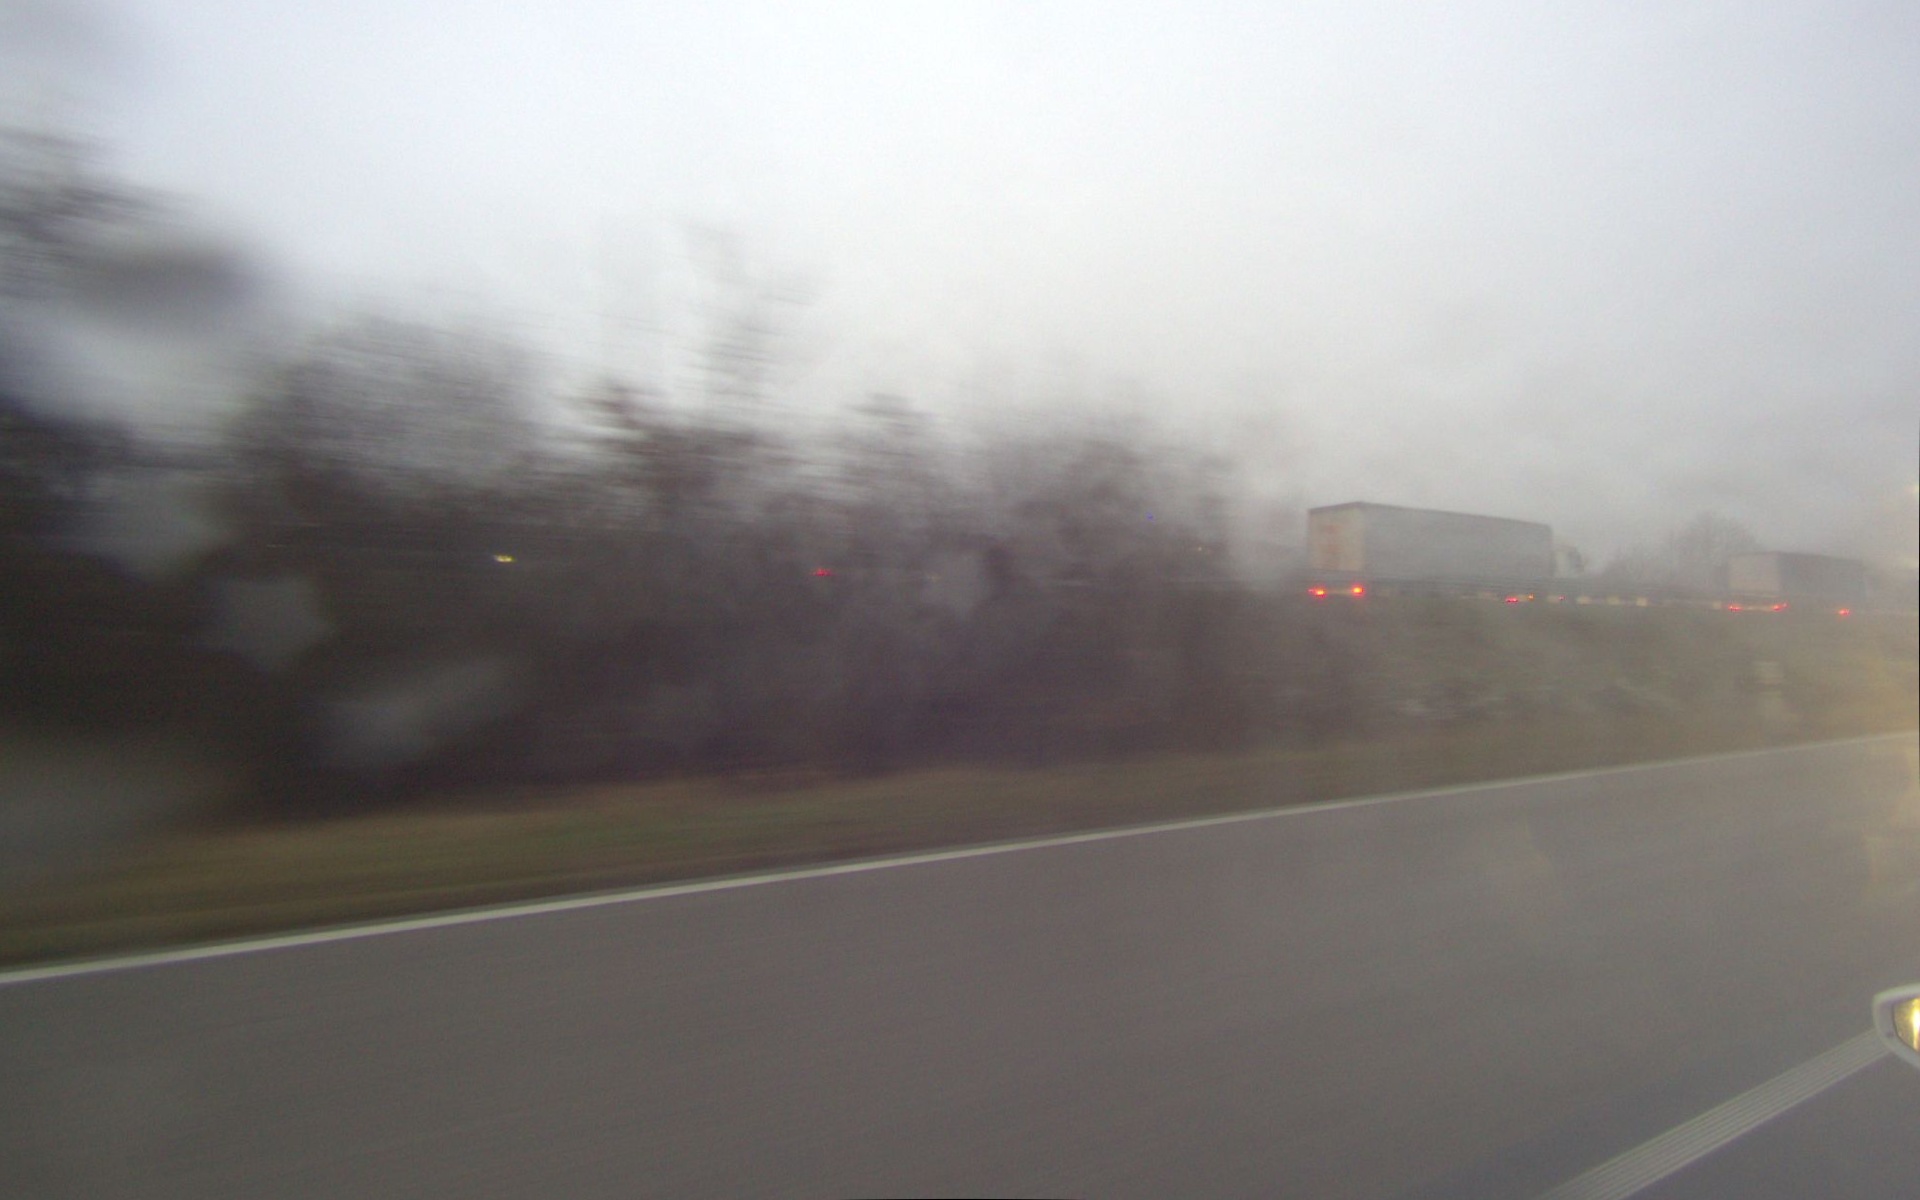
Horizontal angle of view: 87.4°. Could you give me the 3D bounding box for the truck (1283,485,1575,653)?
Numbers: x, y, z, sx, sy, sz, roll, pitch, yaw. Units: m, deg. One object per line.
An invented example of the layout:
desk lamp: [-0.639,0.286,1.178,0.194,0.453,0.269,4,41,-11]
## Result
truck: [20.847,-0.977,43.860,15.568,6.372,3.742,2,0,-33]

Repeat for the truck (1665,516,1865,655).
truck: [60.090,-0.393,73.526,7.465,7.815,39.900,1,0,44]
